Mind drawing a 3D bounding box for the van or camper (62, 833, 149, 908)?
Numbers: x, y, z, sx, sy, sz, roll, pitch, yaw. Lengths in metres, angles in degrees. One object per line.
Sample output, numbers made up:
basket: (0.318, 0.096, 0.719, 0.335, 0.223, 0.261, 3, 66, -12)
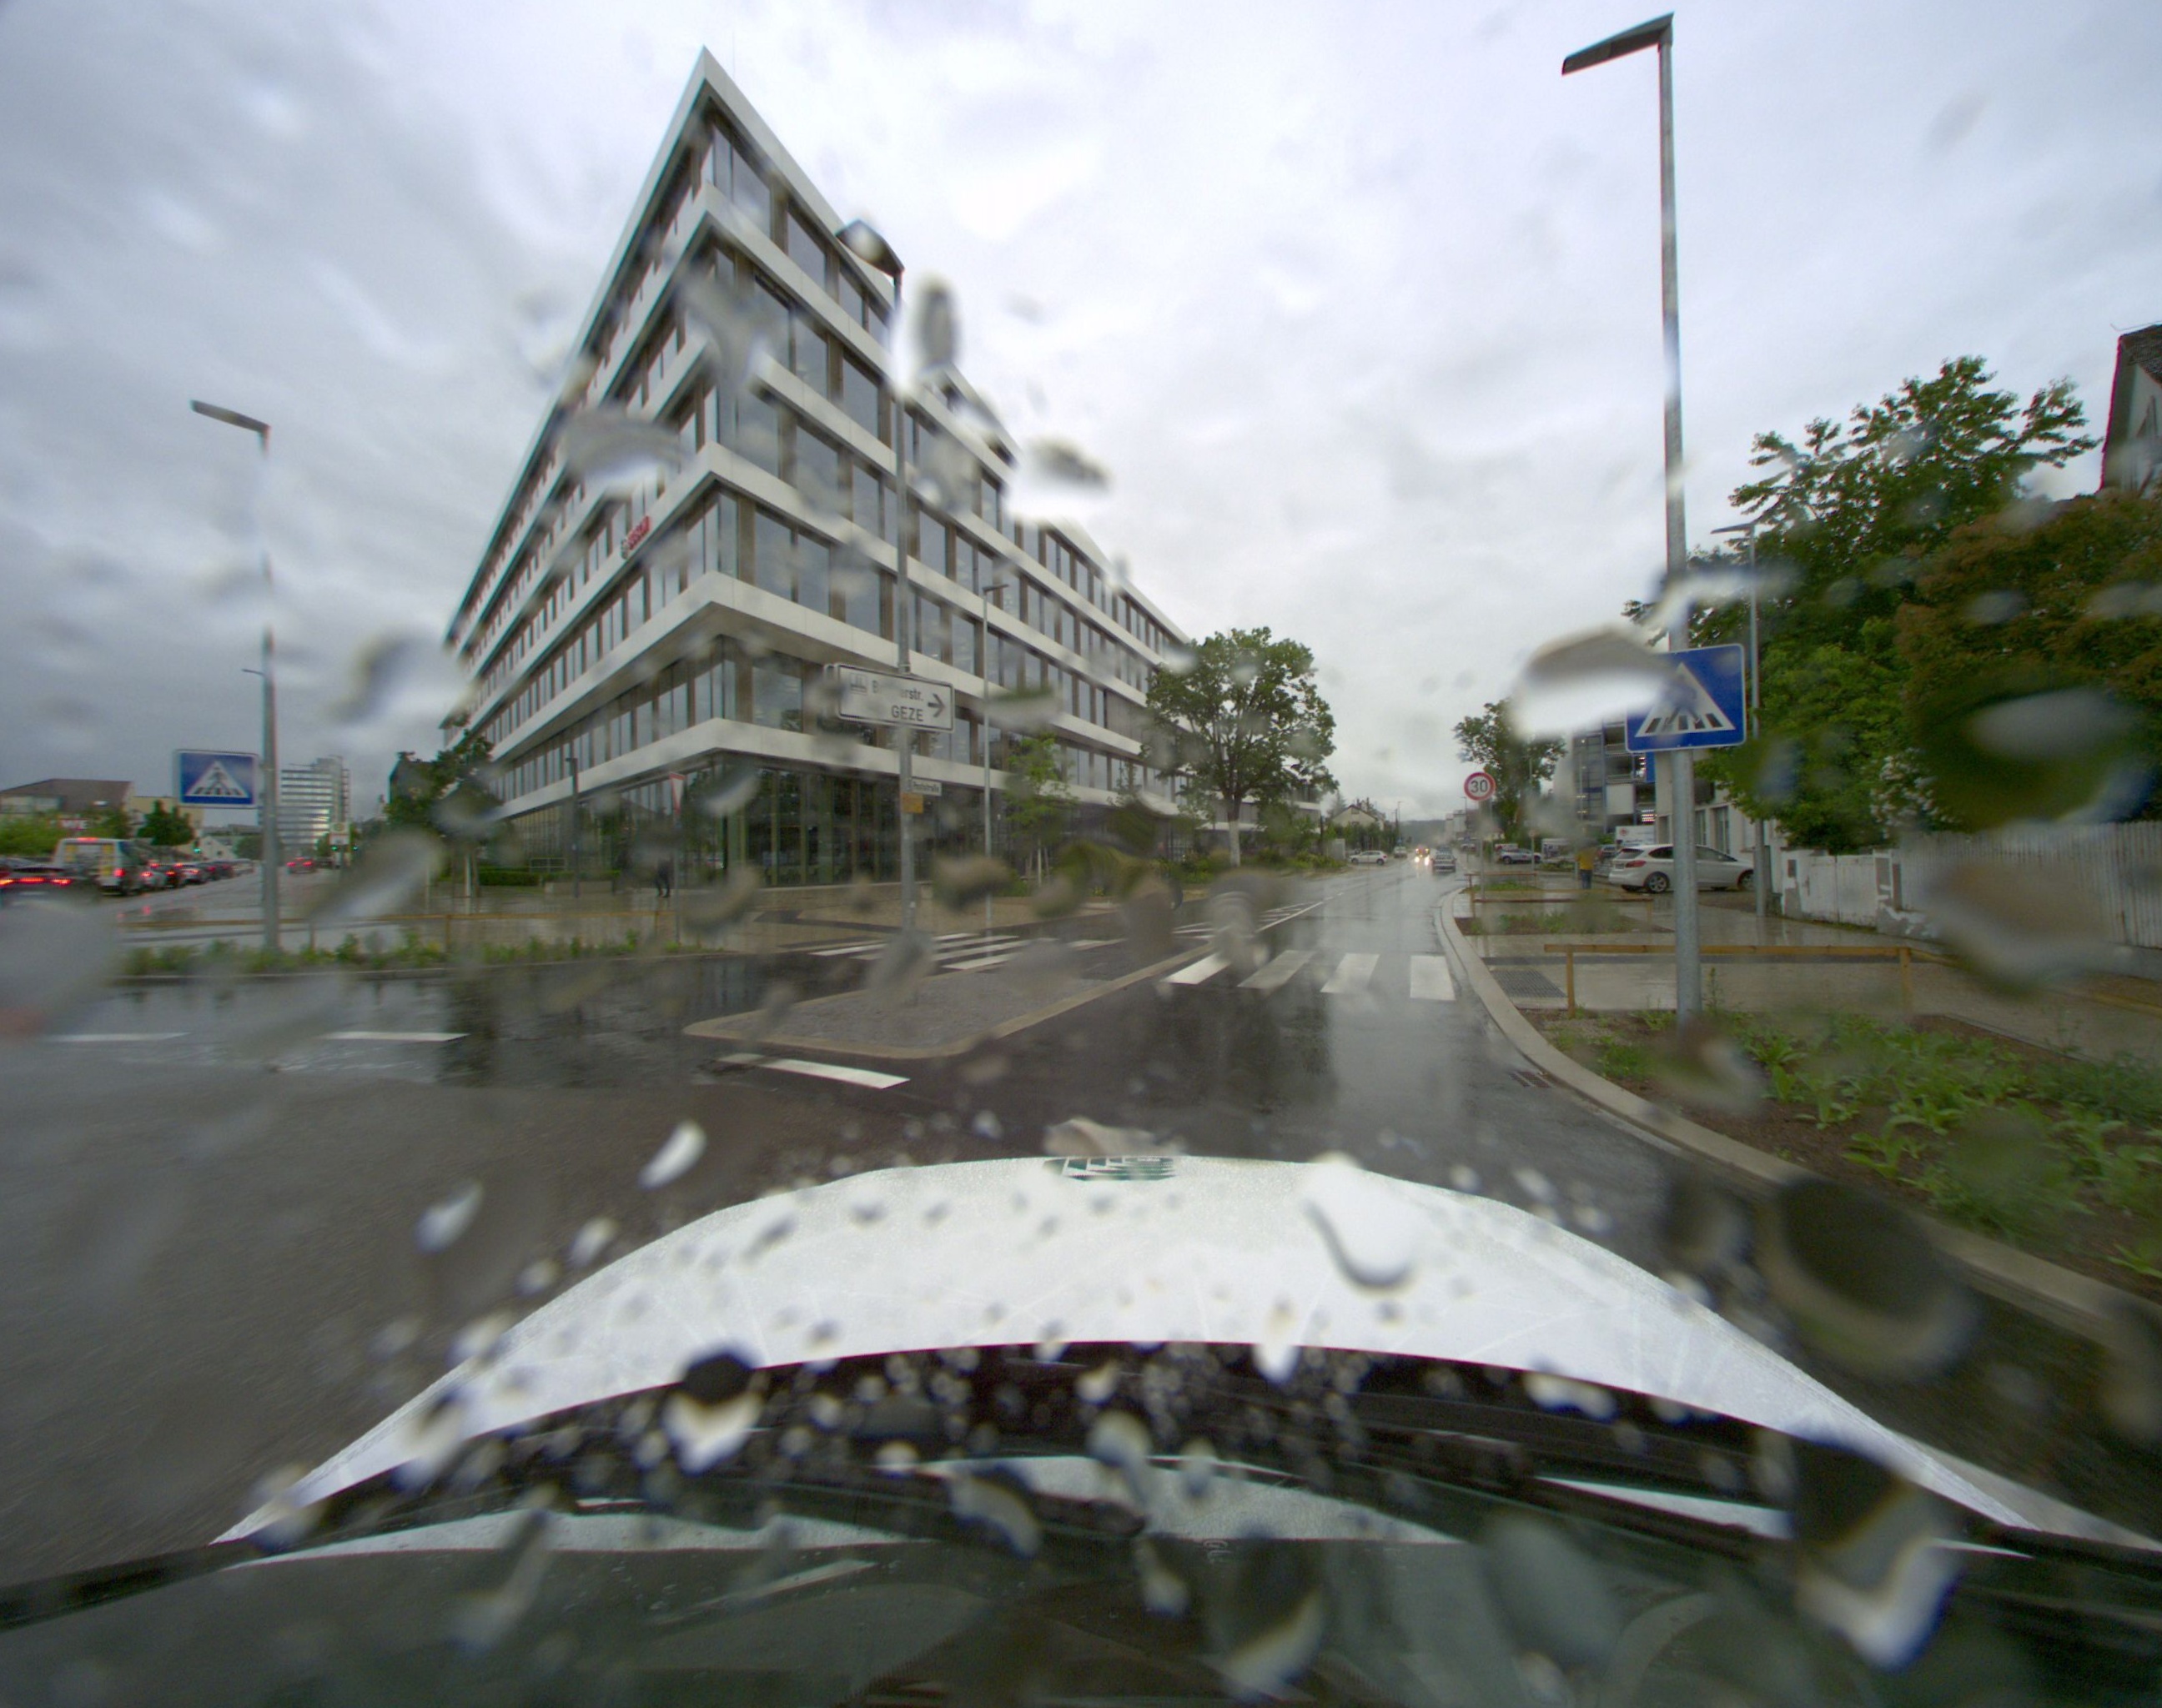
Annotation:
van or camper: (-43.687, 0.633, 36.571, 2.012, 3.087, 5.039, 0, 1, -45)

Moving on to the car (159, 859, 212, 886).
car: (-59.391, 1.195, 54.082, 2.011, 1.618, 3.952, 1, 0, -43)

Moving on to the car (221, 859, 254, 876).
car: (-93.092, 1.455, 89.899, 2.010, 1.585, 3.955, 3, 0, -39)

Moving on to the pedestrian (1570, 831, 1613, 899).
pedestrian: (15.849, 0.333, 25.310, 0.851, 2.014, 1.201, -3, -1, 22)

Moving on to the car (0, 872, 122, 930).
car: (-36.499, 1.608, 29.166, 2.010, 1.727, 3.955, 1, 2, -38)

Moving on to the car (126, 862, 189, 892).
car: (-53.237, 1.298, 47.027, 2.011, 1.618, 3.952, 1, 0, -43)

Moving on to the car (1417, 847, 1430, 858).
car: (57.245, -0.200, 136.184, 1.985, 1.818, 5.007, -1, 0, 23)

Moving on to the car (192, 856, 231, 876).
car: (-73.500, 1.007, 68.873, 2.011, 1.618, 3.952, 1, 0, -43)

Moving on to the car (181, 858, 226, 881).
car: (-65.864, 1.109, 61.160, 2.011, 1.618, 3.952, 1, 0, -43)

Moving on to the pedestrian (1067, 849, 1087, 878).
pedestrian: (-0.225, 0.566, 48.295, 0.717, 1.703, 0.962, 3, 0, 27)

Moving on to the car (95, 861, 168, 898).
car: (-48.879, 1.266, 41.994, 2.011, 1.706, 3.952, 1, 0, -43)

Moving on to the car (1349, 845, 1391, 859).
car: (30.059, -0.177, 84.673, 3.892, 1.423, 1.909, -1, 0, 25)

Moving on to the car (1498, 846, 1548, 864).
car: (44.243, 0.113, 81.587, 4.166, 1.650, 2.013, -3, -1, 34)

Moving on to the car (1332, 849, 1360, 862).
car: (49.071, 0.264, 150.863, 4.718, 2.013, 2.008, 3, 0, 15)

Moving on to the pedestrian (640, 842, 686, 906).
pedestrian: (-13.383, 0.635, 26.091, 0.883, 2.013, 0.936, 0, 0, 20)

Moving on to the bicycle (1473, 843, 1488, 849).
bicycle: (78.513, -1.570, 160.112, 0.668, 1.067, 3.620, 3, 0, -7)

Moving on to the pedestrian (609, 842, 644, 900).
pedestrian: (-17.450, 0.634, 31.269, 1.011, 2.145, 0.921, 0, 0, -40)

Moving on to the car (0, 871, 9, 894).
car: (-69.303, 1.807, 49.920, 1.990, 1.398, 3.993, 0, 0, -5)

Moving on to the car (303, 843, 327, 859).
car: (-98.011, -0.390, 104.238, 2.010, 1.860, 3.954, 3, 0, -41)

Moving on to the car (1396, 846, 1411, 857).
car: (49.685, -0.349, 125.525, 1.976, 1.629, 4.177, -1, 0, 24)

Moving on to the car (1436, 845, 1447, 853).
car: (81.244, -1.132, 183.528, 1.976, 1.706, 4.022, 3, 0, 24)

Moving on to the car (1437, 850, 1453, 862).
car: (56.666, 0.266, 126.819, 2.135, 1.706, 4.022, 3, 0, 24)

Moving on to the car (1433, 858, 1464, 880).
car: (28.313, 1.152, 62.877, 1.932, 1.555, 4.021, 3, 0, 21)

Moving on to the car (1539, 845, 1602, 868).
car: (35.505, 0.178, 59.154, 3.692, 1.529, 1.659, -2, -2, 24)

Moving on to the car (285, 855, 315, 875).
car: (-83.249, 1.166, 86.848, 2.010, 1.860, 3.954, 3, 0, -41)

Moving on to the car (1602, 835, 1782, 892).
car: (19.392, 0.300, 26.037, 4.103, 1.580, 2.006, -3, 0, 10)

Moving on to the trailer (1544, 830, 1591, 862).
trailer: (34.020, -0.560, 57.016, 2.677, 2.171, 1.557, -1, 0, 26)
